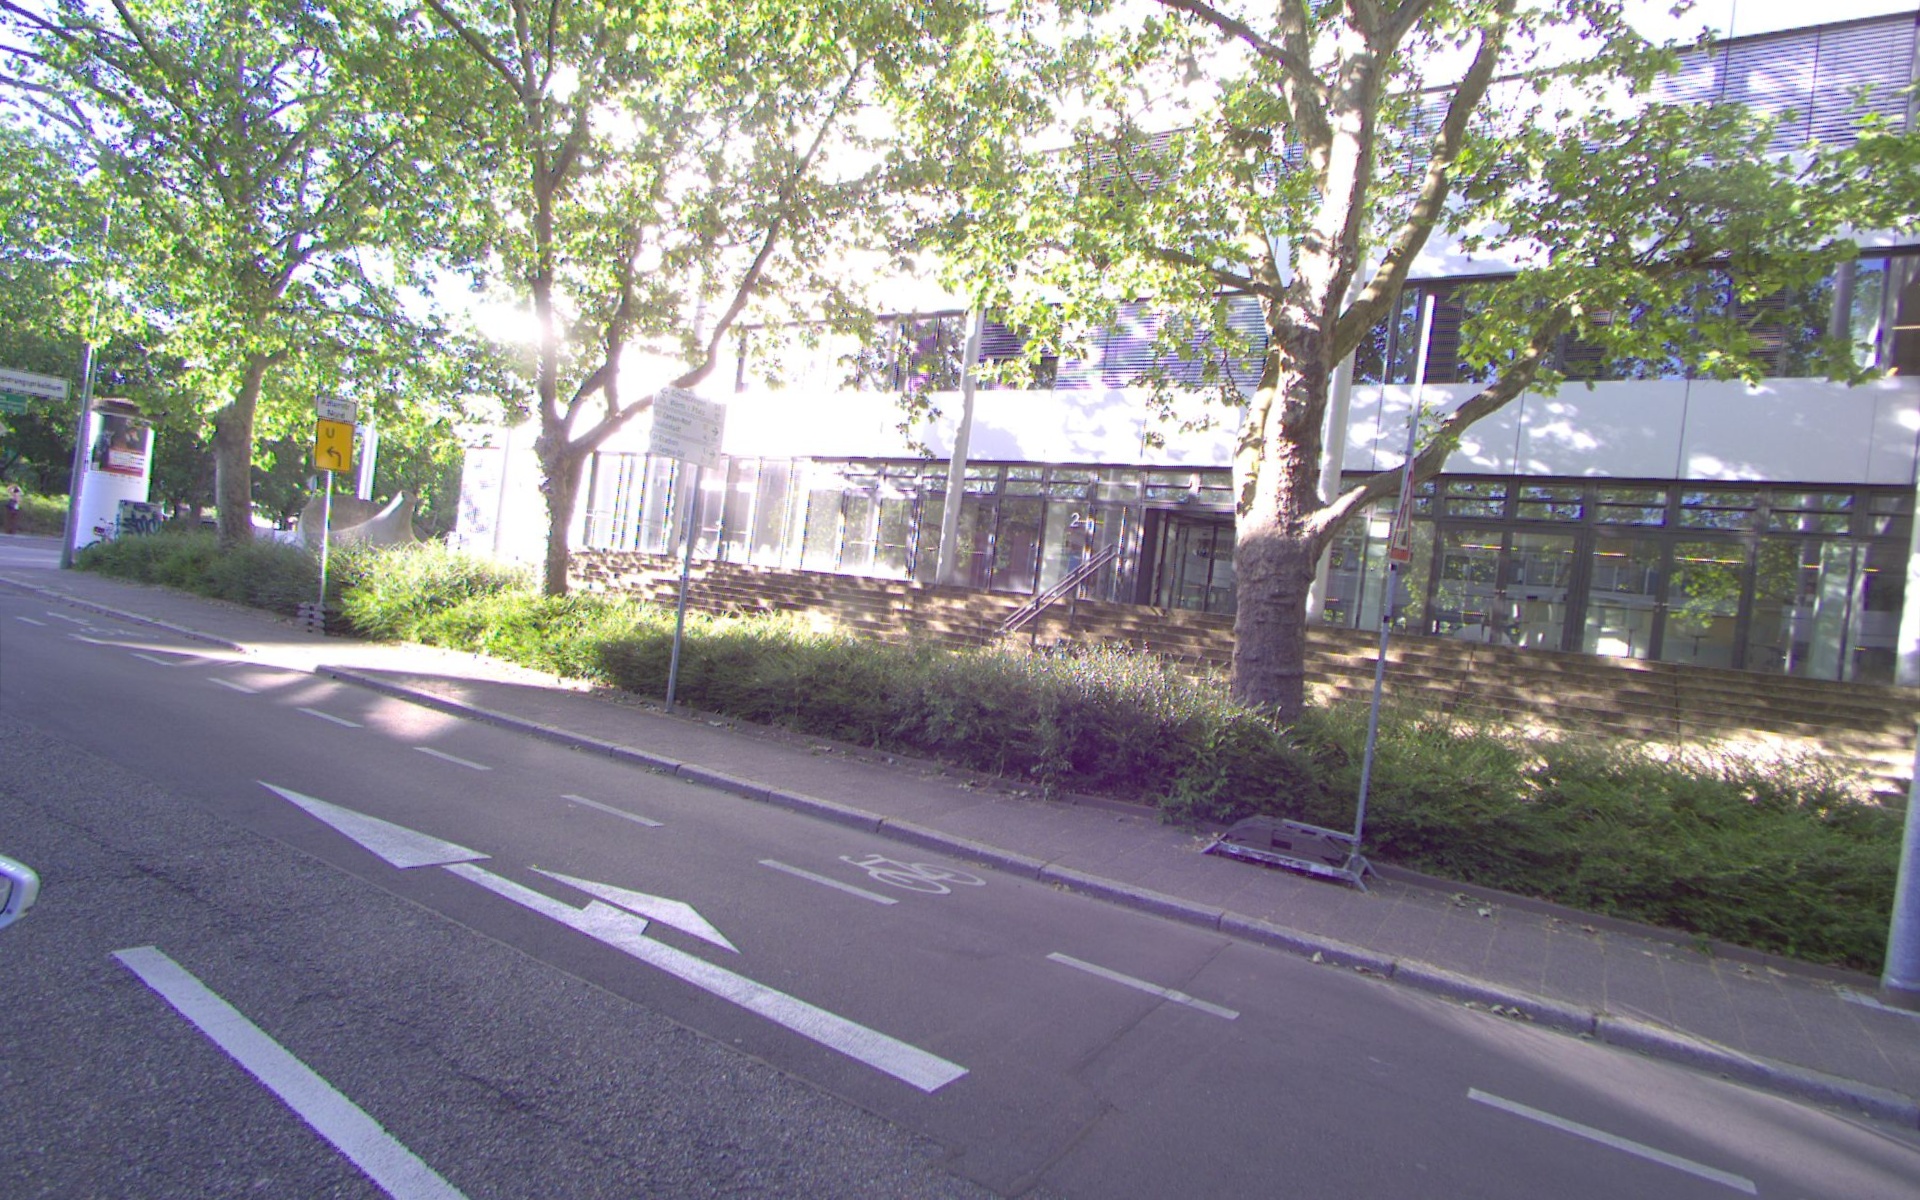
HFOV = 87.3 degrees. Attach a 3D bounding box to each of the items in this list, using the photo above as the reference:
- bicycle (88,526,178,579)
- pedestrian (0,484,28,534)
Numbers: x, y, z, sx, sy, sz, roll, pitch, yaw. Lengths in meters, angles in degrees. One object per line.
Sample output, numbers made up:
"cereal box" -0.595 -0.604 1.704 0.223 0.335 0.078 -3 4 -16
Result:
"bicycle" -19.035 -1.074 23.174 0.295 0.991 1.484 6 -2 37
"pedestrian" -36.223 -3.467 38.359 0.672 1.793 0.613 8 -1 -29
